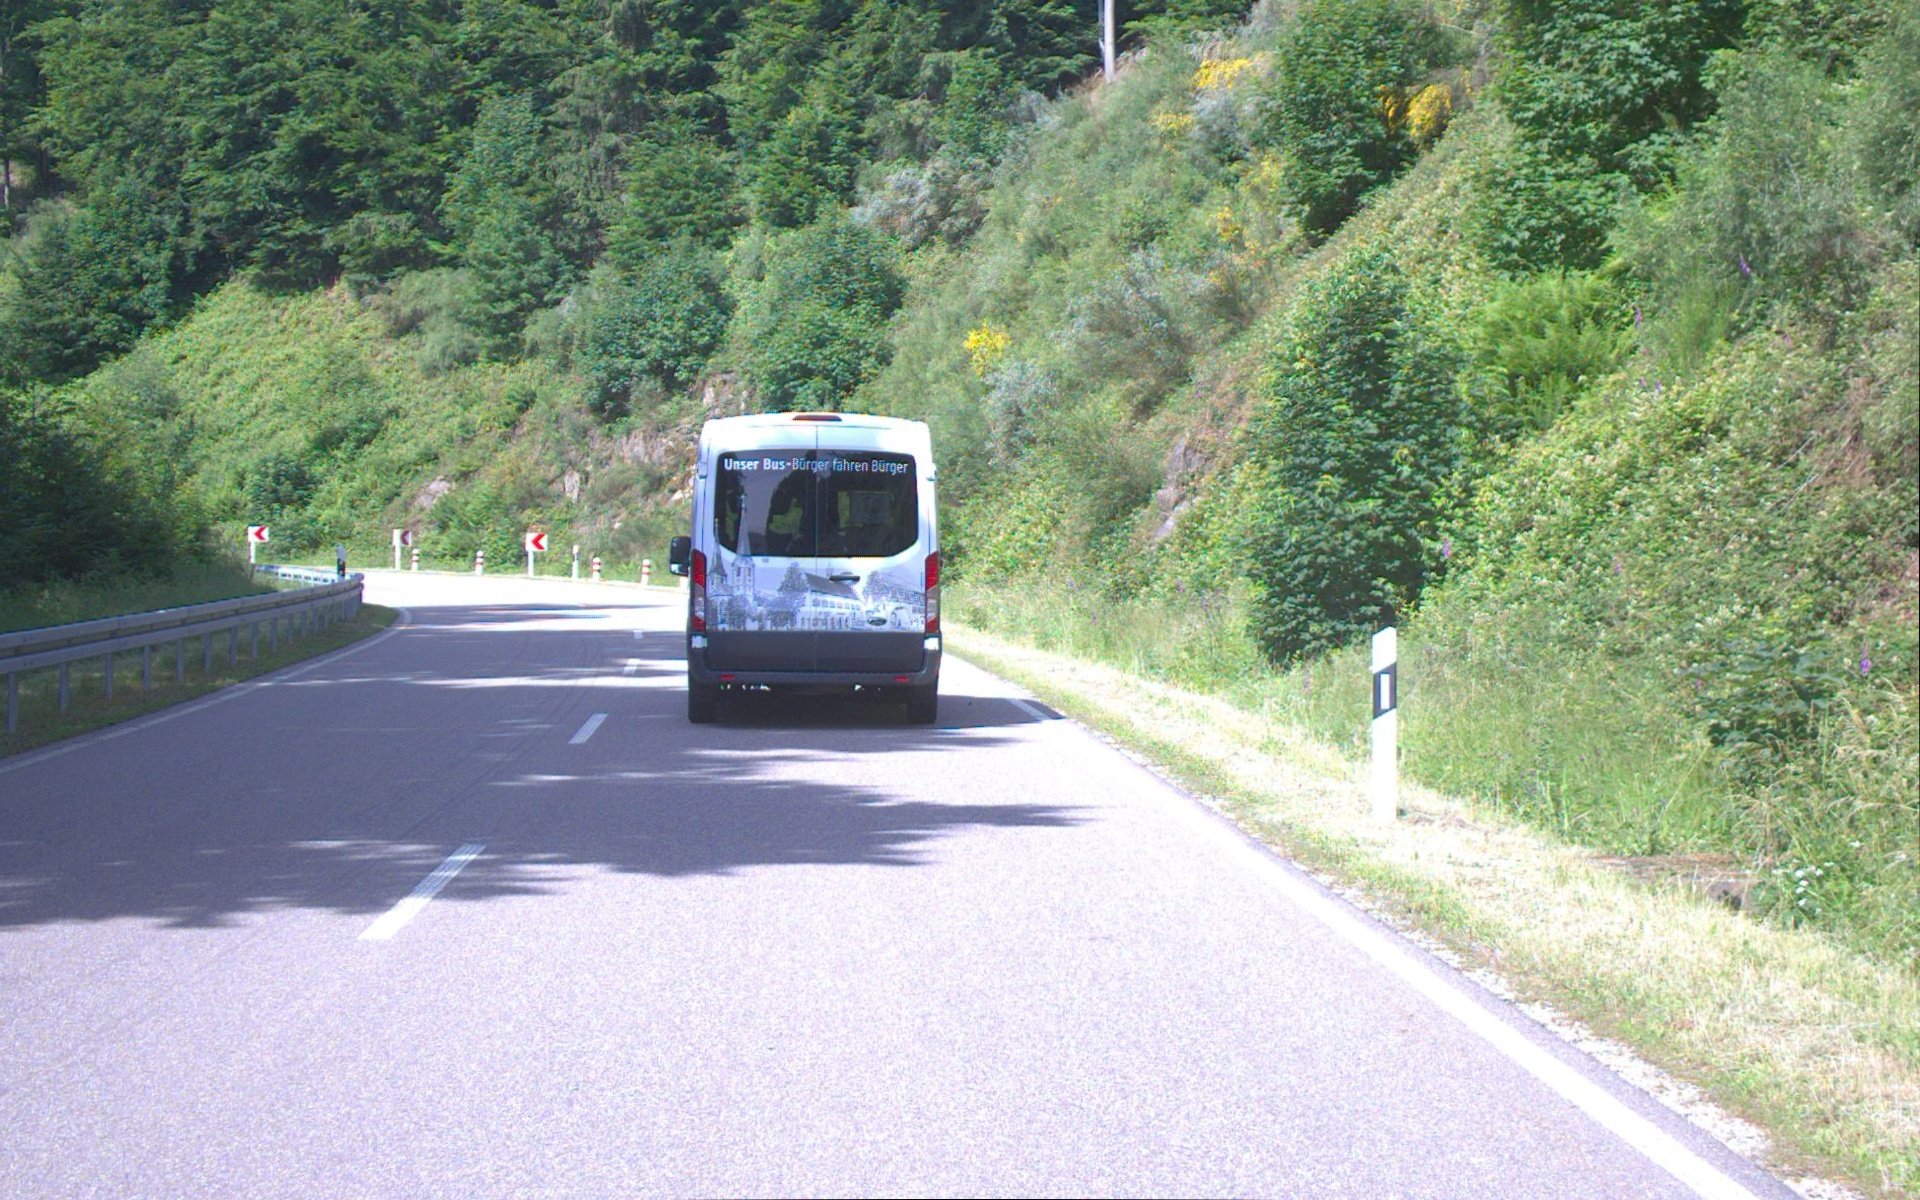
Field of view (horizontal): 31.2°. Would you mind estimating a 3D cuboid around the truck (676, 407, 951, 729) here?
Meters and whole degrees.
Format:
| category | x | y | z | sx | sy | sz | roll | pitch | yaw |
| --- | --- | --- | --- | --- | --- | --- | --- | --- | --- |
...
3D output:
| category | x | y | z | sx | sy | sz | roll | pitch | yaw |
| --- | --- | --- | --- | --- | --- | --- | --- | --- | --- |
| truck | -1.265 | -0.296 | 28.733 | 2.083 | 2.451 | 4.876 | 0 | 1 | -3 |
